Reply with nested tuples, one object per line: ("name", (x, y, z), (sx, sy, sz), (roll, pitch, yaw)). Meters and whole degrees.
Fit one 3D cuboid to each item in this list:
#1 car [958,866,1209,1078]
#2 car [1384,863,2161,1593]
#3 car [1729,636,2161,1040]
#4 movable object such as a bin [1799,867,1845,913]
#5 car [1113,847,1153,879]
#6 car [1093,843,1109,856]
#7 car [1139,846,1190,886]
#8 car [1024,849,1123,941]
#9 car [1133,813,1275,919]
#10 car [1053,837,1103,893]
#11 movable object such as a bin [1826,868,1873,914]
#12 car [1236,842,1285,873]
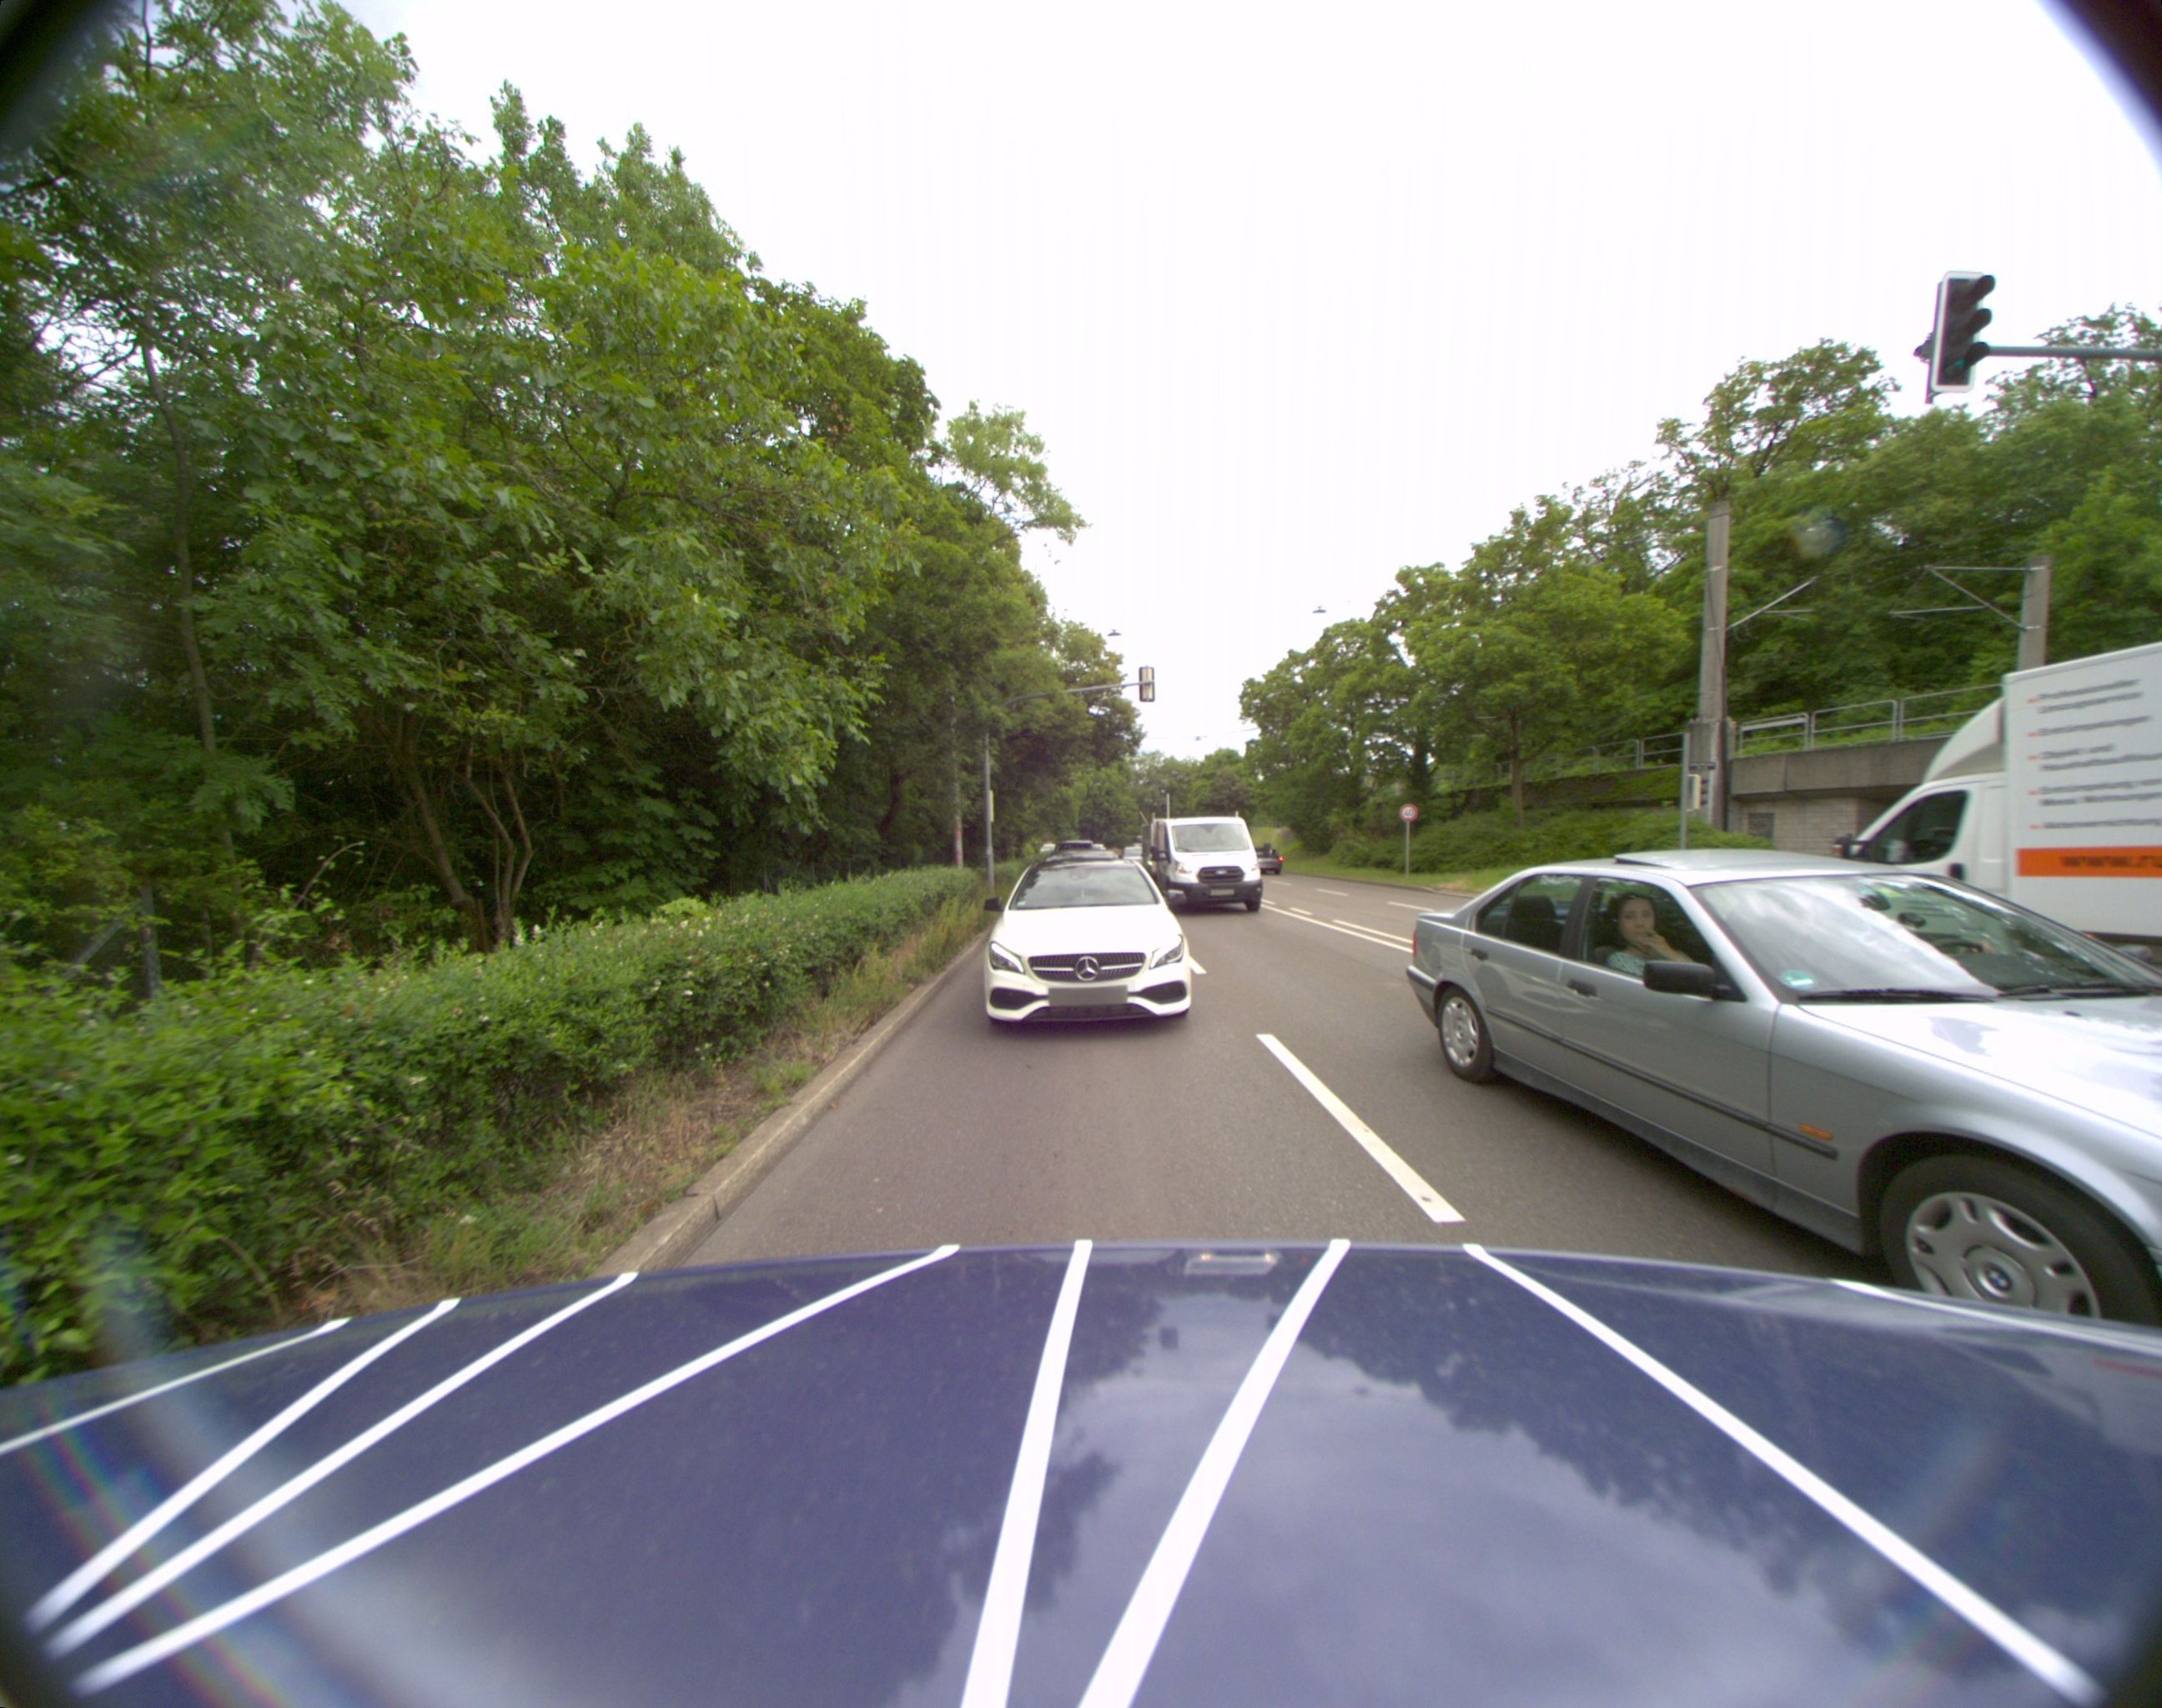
("car", (0.009, 0.896, 7.680), (1.807, 1.385, 4.283), (-1, 1, 0))
("car", (3.112, 0.809, 3.267), (1.757, 1.385, 4.614), (-1, 1, 0))
("car", (9.264, -0.148, 5.821), (2.276, 3.039, 7.233), (-2, 1, -2))
("movable object such as a bin", (18.309, 0.880, 18.779), (0.544, 1.092, 0.563), (1, 1, -1))
("car", (2.674, 0.438, 40.120), (1.678, 1.532, 4.613), (-1, 1, -1))
("car", (2.475, -0.518, 92.507), (1.677, 1.532, 4.616), (-1, 1, 5))
("car", (3.433, 0.439, 31.957), (1.677, 1.532, 4.552), (-1, 1, 1))
("car", (-0.180, 0.691, 15.432), (1.678, 1.532, 4.613), (-1, 1, -1))
("car", (2.773, 0.199, 19.025), (2.253, 2.114, 6.667), (-2, 1, -2))
("car", (-0.163, 0.384, 30.512), (1.826, 2.059, 4.613), (-1, 1, -1))
("movable object such as a bin", (18.905, 0.903, 18.708), (0.544, 1.070, 0.563), (1, 1, -1))
("car", (9.260, 0.143, 39.442), (1.677, 1.532, 3.749), (-1, 1, 1))
